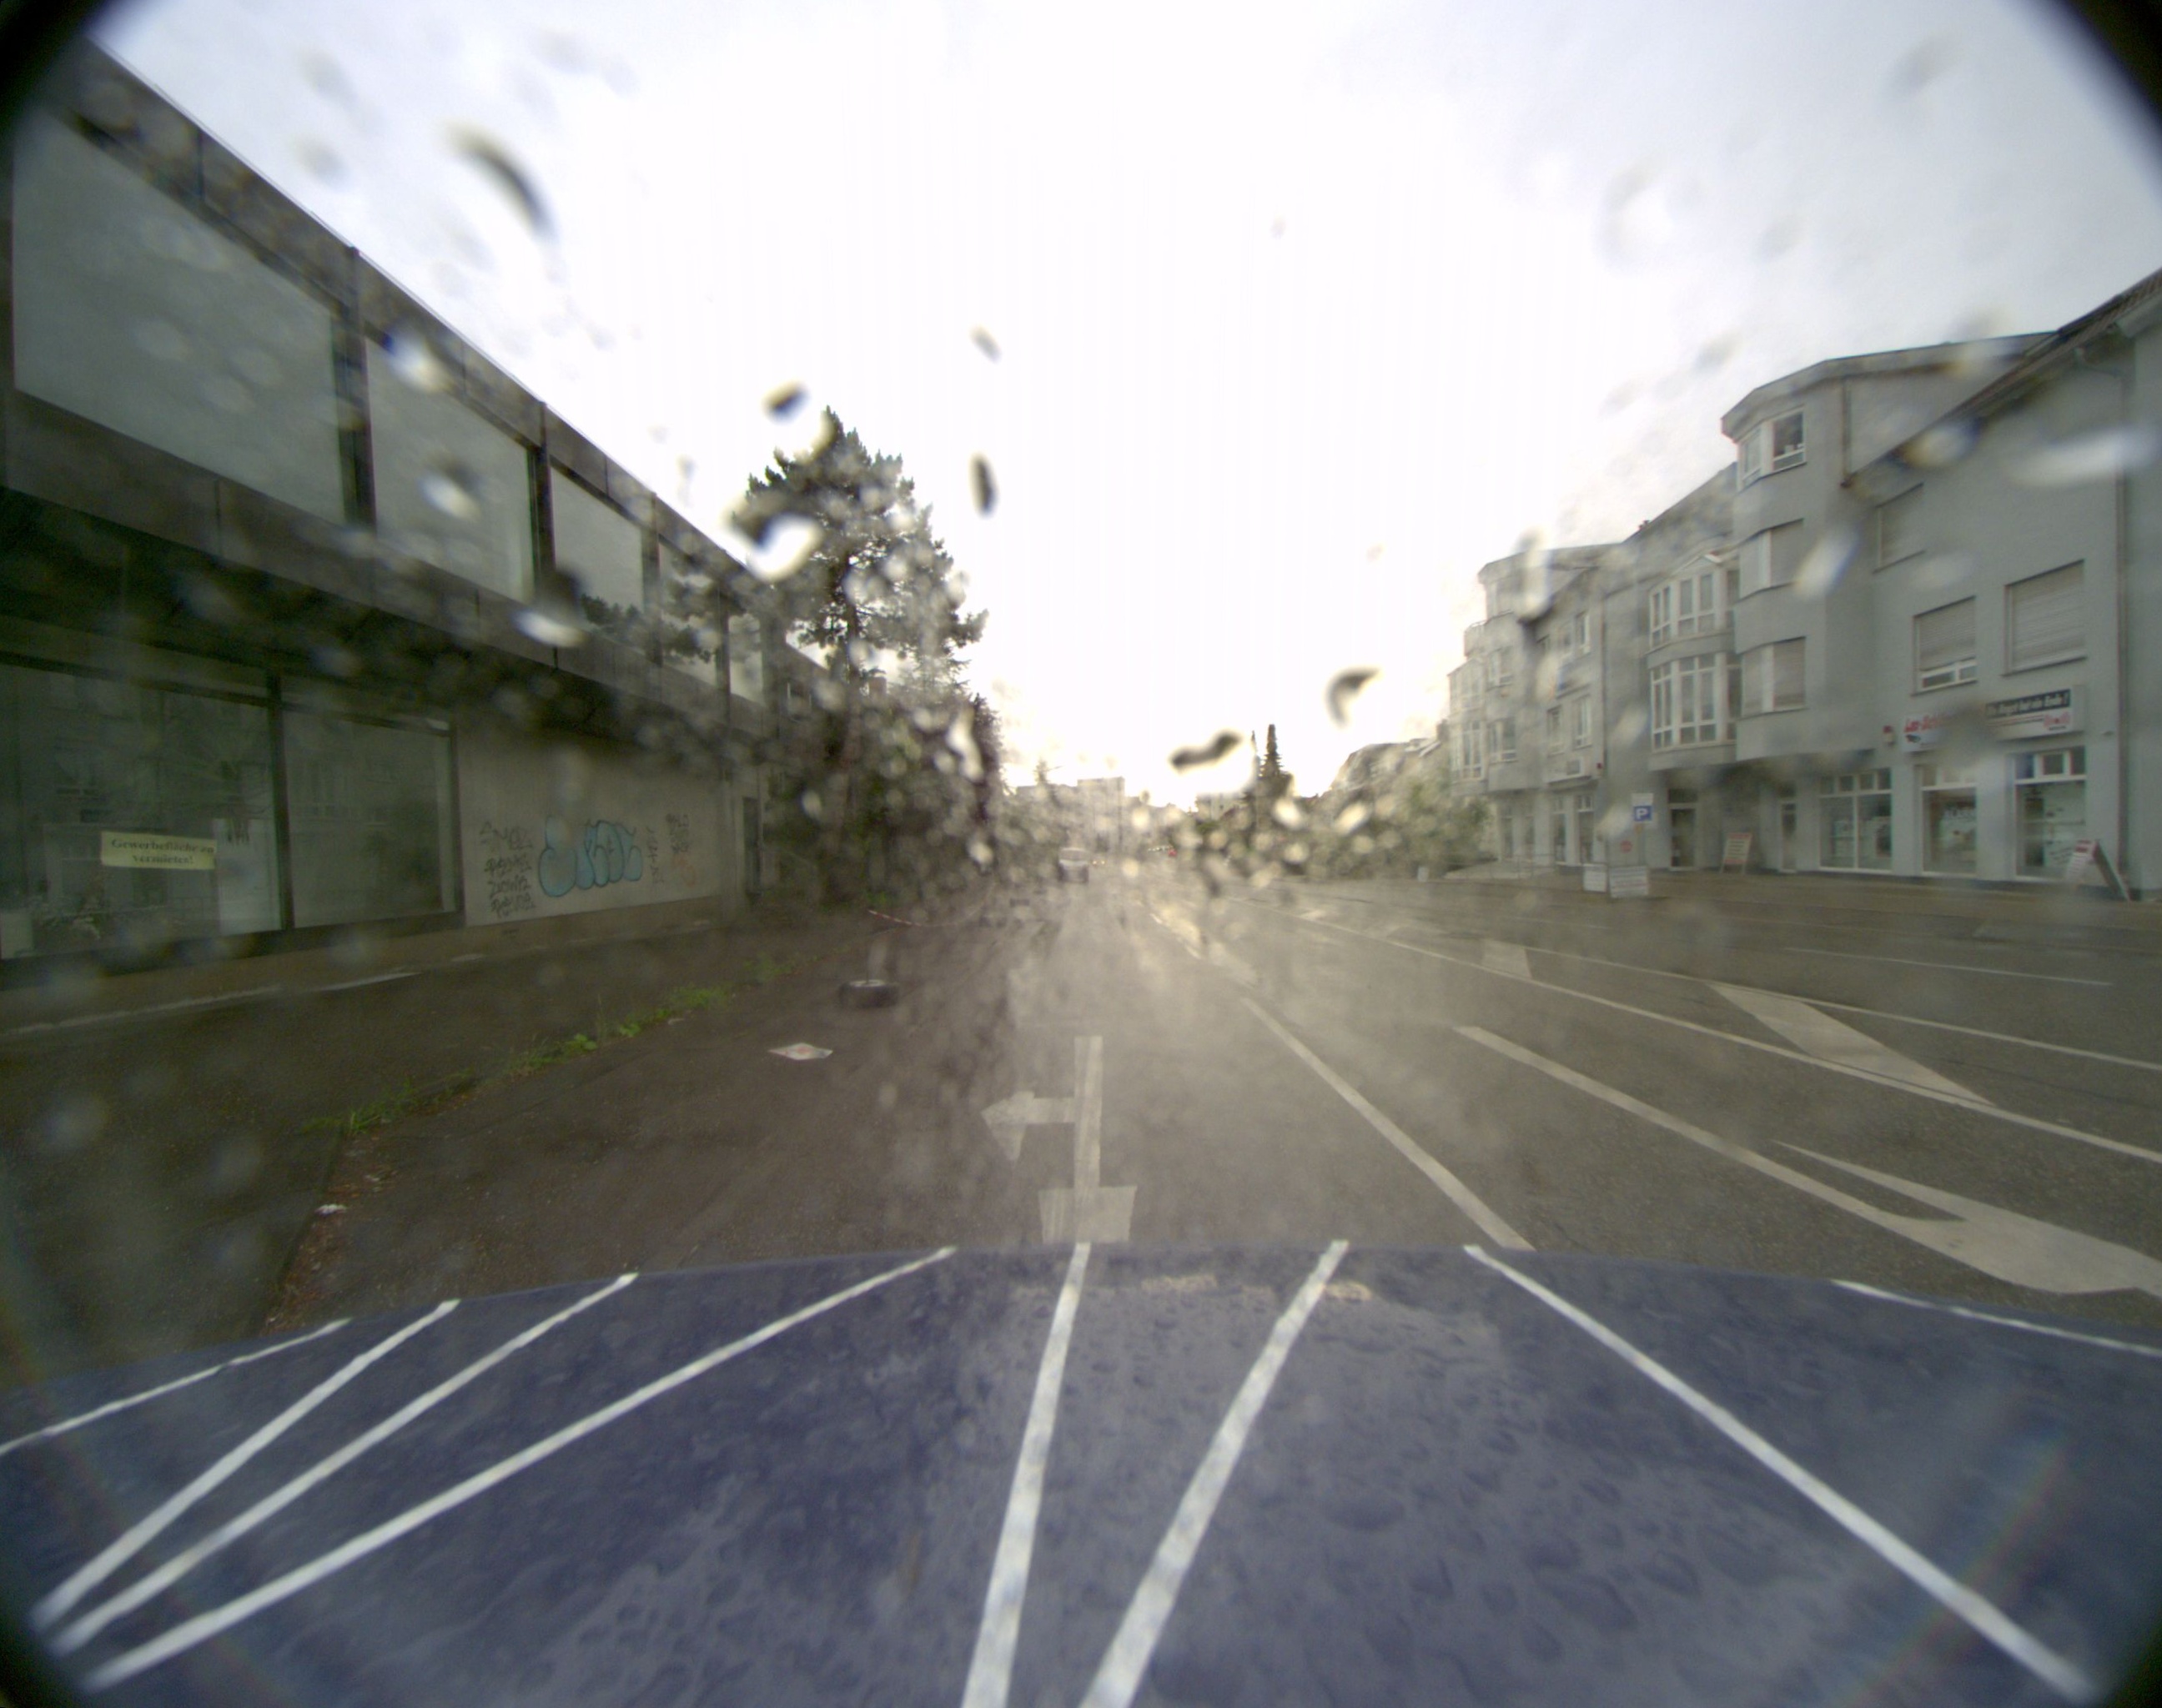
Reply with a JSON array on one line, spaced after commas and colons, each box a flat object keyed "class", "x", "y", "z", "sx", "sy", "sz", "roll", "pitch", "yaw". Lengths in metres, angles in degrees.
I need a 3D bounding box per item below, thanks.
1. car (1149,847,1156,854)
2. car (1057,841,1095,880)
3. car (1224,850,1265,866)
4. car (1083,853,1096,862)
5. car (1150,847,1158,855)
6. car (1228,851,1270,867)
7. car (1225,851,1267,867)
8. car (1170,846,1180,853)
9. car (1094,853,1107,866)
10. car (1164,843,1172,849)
[{"class": "car", "x": 17.992, "y": -0.952, "z": 191.216, "sx": 1.851, "sy": 1.753, "sz": 4.123, "roll": -1, "pitch": 0, "yaw": 6}, {"class": "car", "x": -0.263, "y": 0.422, "z": 51.649, "sx": 2.397, "sy": 2.417, "sz": 6.433, "roll": -1, "pitch": 0, "yaw": 1}, {"class": "car", "x": 17.810, "y": 0.462, "z": 82.903, "sx": 4.114, "sy": 1.536, "sz": 2.001, "roll": -3, "pitch": 0, "yaw": 6}, {"class": "car", "x": 1.477, "y": 0.582, "z": 133.945, "sx": 1.912, "sy": 1.622, "sz": 3.703, "roll": -1, "pitch": 0, "yaw": 5}, {"class": "car", "x": 17.696, "y": -0.703, "z": 184.119, "sx": 1.851, "sy": 1.870, "sz": 4.122, "roll": -1, "pitch": 0, "yaw": 5}, {"class": "car", "x": 17.161, "y": 0.529, "z": 77.709, "sx": 4.034, "sy": 1.434, "sz": 1.813, "roll": -3, "pitch": 0, "yaw": 6}, {"class": "car", "x": 17.397, "y": 0.539, "z": 80.192, "sx": 4.155, "sy": 1.434, "sz": 1.891, "roll": -3, "pitch": 0, "yaw": 8}, {"class": "car", "x": 22.424, "y": -1.064, "z": 180.803, "sx": 1.997, "sy": 1.606, "sz": 4.003, "roll": -1, "pitch": 0, "yaw": 11}, {"class": "car", "x": 2.966, "y": 0.824, "z": 113.733, "sx": 1.835, "sy": 1.783, "sz": 3.837, "roll": -3, "pitch": 0, "yaw": 2}, {"class": "car", "x": 24.497, "y": -2.207, "z": 214.522, "sx": 1.850, "sy": 1.753, "sz": 4.124, "roll": -1, "pitch": 0, "yaw": 11}]
